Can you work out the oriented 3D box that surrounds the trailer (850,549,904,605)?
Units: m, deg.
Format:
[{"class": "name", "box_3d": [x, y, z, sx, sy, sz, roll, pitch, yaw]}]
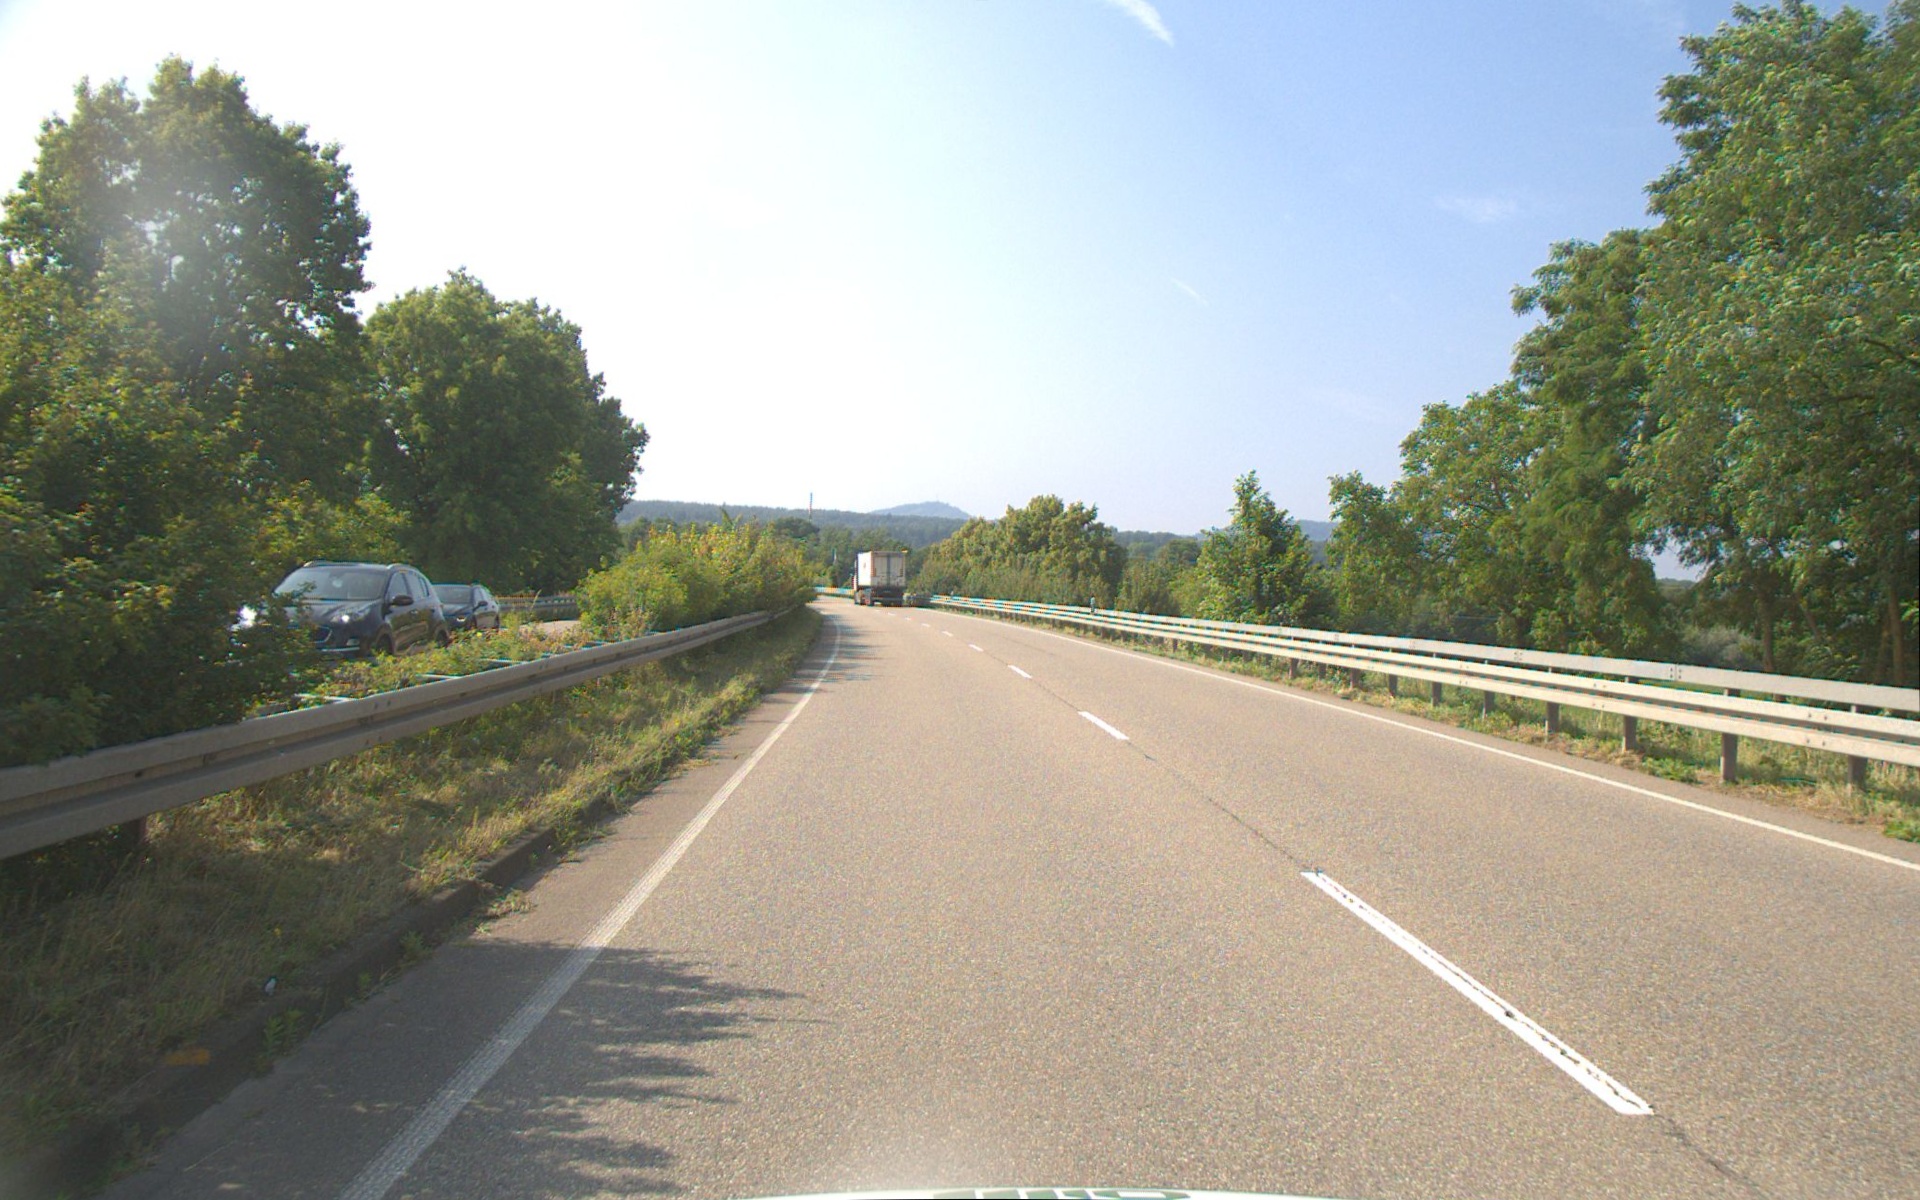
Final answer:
[{"class": "trailer", "box_3d": [-6.156, -1.685, 121.254, 2.631, 3.975, 9.647, 1, 1, -11]}]

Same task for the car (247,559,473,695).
[{"class": "car", "box_3d": [-8.002, 0.313, 22.470, 1.560, 1.650, 4.320, 1, 0, -1]}]

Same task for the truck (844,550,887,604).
[{"class": "truck", "box_3d": [-7.301, -1.783, 127.300, 2.610, 3.964, 5.634, 1, 1, -10]}]

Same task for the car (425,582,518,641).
[{"class": "car", "box_3d": [-12.616, 0.300, 42.877, 1.566, 1.444, 3.528, 1, 0, -4]}]
